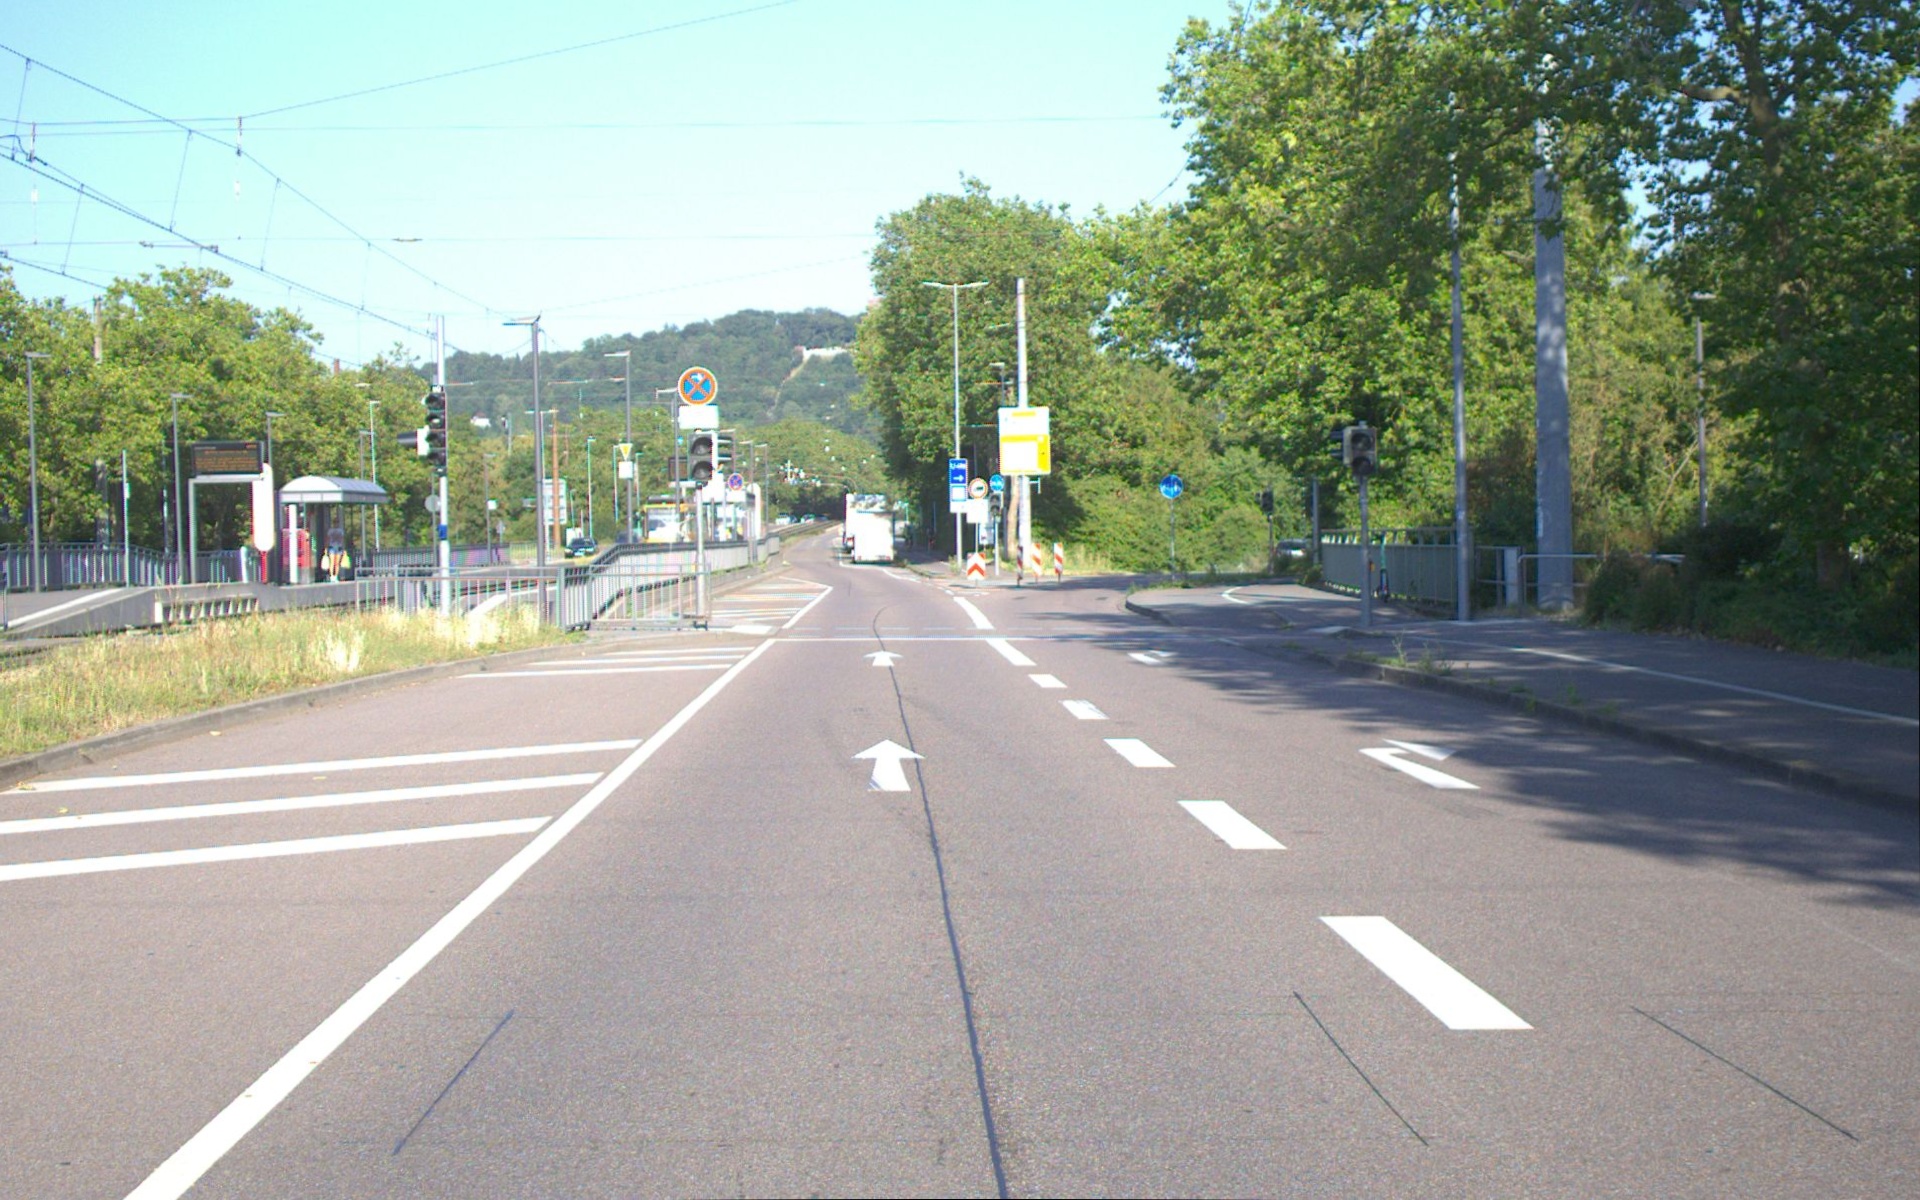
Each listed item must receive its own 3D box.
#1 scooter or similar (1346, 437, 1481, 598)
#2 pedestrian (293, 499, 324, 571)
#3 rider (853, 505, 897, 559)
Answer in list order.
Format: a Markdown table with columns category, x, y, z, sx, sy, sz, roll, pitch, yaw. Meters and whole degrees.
| category | x | y | z | sx | sy | sz | roll | pitch | yaw |
| --- | --- | --- | --- | --- | --- | --- | --- | --- | --- |
| scooter or similar | 7.953 | -1.450 | 60.623 | 1.681 | 2.706 | 4.869 | 0 | 1 | 0 |
| pedestrian | -18.147 | -1.802 | 95.832 | 0.744 | 2.007 | 0.608 | 0 | 1 | 0 |
| rider | -4.283 | -3.434 | 173.656 | 2.109 | 2.638 | 0.736 | -1 | 1 | 5 |
